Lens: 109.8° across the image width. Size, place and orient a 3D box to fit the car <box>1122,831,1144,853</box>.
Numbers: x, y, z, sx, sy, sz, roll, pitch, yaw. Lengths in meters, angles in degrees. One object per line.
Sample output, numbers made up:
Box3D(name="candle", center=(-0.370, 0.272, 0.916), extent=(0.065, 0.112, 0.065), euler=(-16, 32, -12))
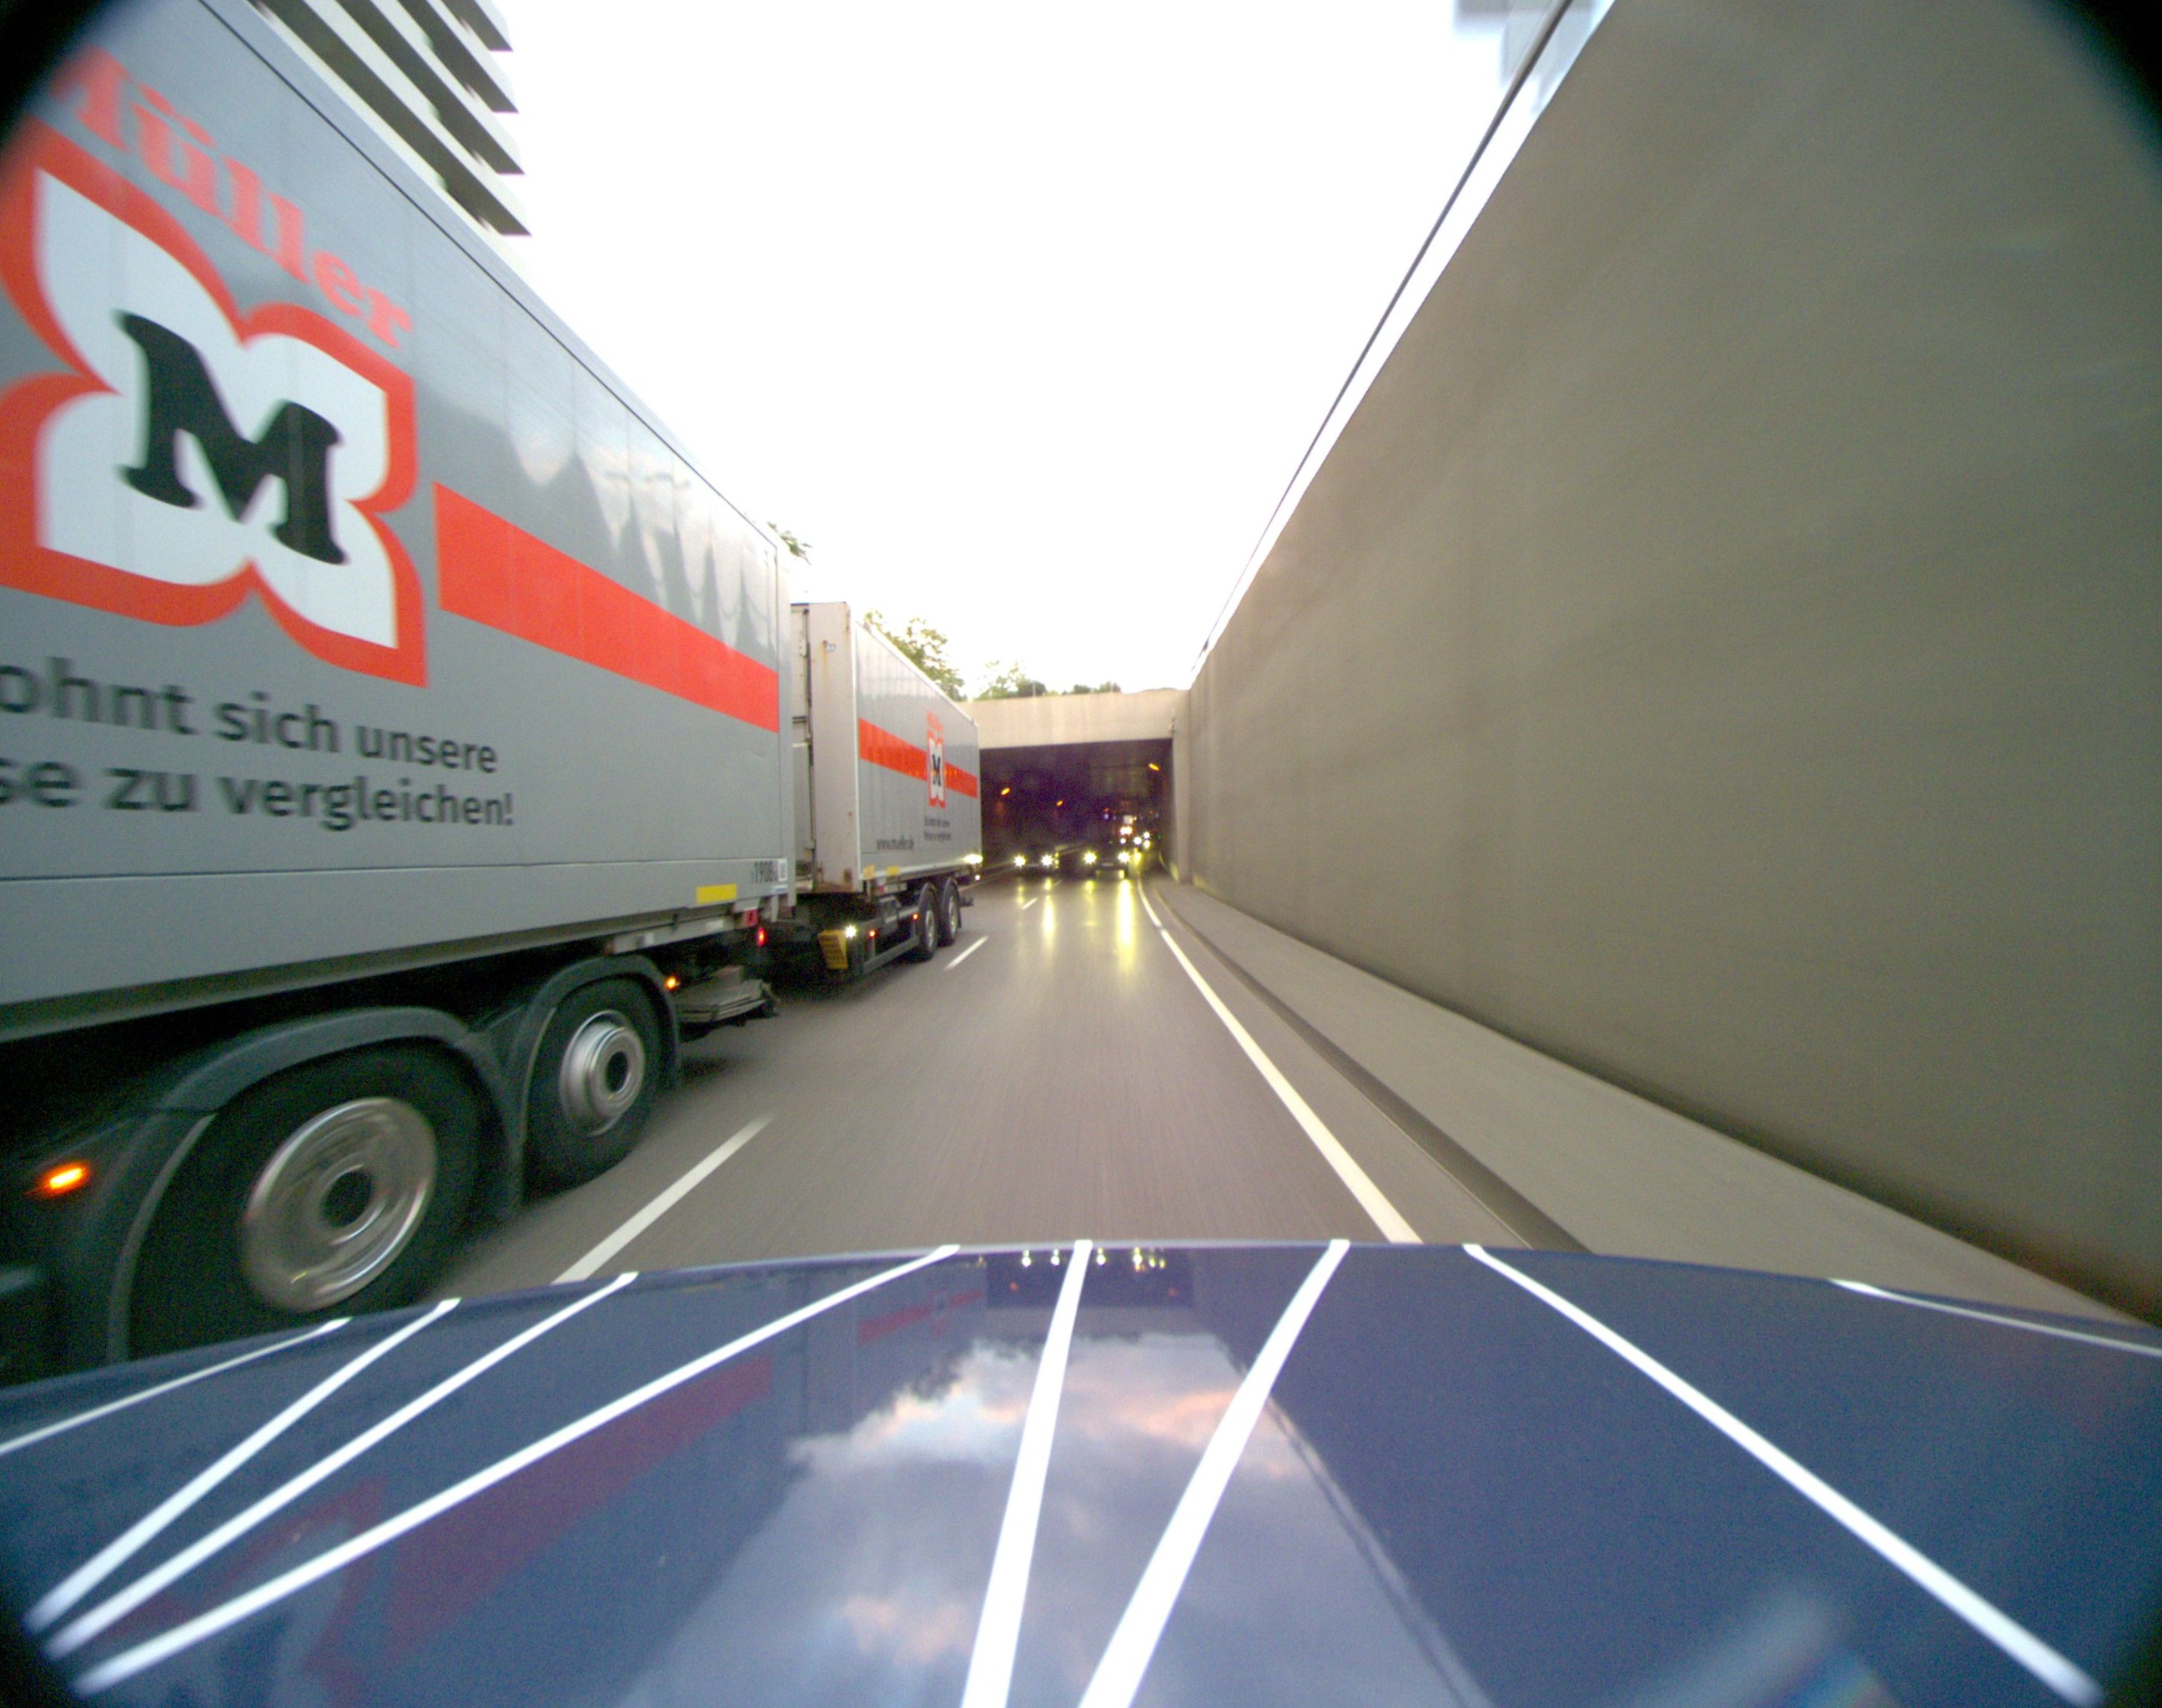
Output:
Box3D(name="car", center=(4.517, -1.084, 65.703), extent=(1.714, 1.729, 4.000), euler=(-3, 3, 6))

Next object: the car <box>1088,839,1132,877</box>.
Box3D(name="car", center=(1.360, 0.128, 34.337), extent=(1.819, 1.590, 4.000), euler=(-1, 1, 4))

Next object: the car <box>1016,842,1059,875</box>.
Box3D(name="car", center=(-1.994, 0.172, 35.934), extent=(1.735, 1.395, 3.798), euler=(-2, 1, 1))

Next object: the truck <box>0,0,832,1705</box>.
Box3D(name="truck", center=(-3.573, -0.277, 0.928), extent=(2.896, 3.891, 9.908), euler=(-2, 1, 1))

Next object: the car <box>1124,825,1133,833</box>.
Box3D(name="car", center=(11.134, -5.905, 178.712), extent=(1.998, 1.674, 4.000), euler=(-3, 1, 3))

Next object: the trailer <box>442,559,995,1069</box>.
Box3D(name="trailer", center=(-3.315, -0.342, 10.370), extent=(2.882, 3.836, 8.947), euler=(-2, 1, 2))

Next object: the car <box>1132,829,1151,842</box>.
Box3D(name="car", center=(7.786, -2.355, 96.850), extent=(1.997, 1.576, 4.653), euler=(-3, 1, 9))

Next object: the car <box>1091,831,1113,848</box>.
Box3D(name="car", center=(2.149, -1.508, 76.791), extent=(1.735, 1.565, 4.001), euler=(-4, 1, 7))
